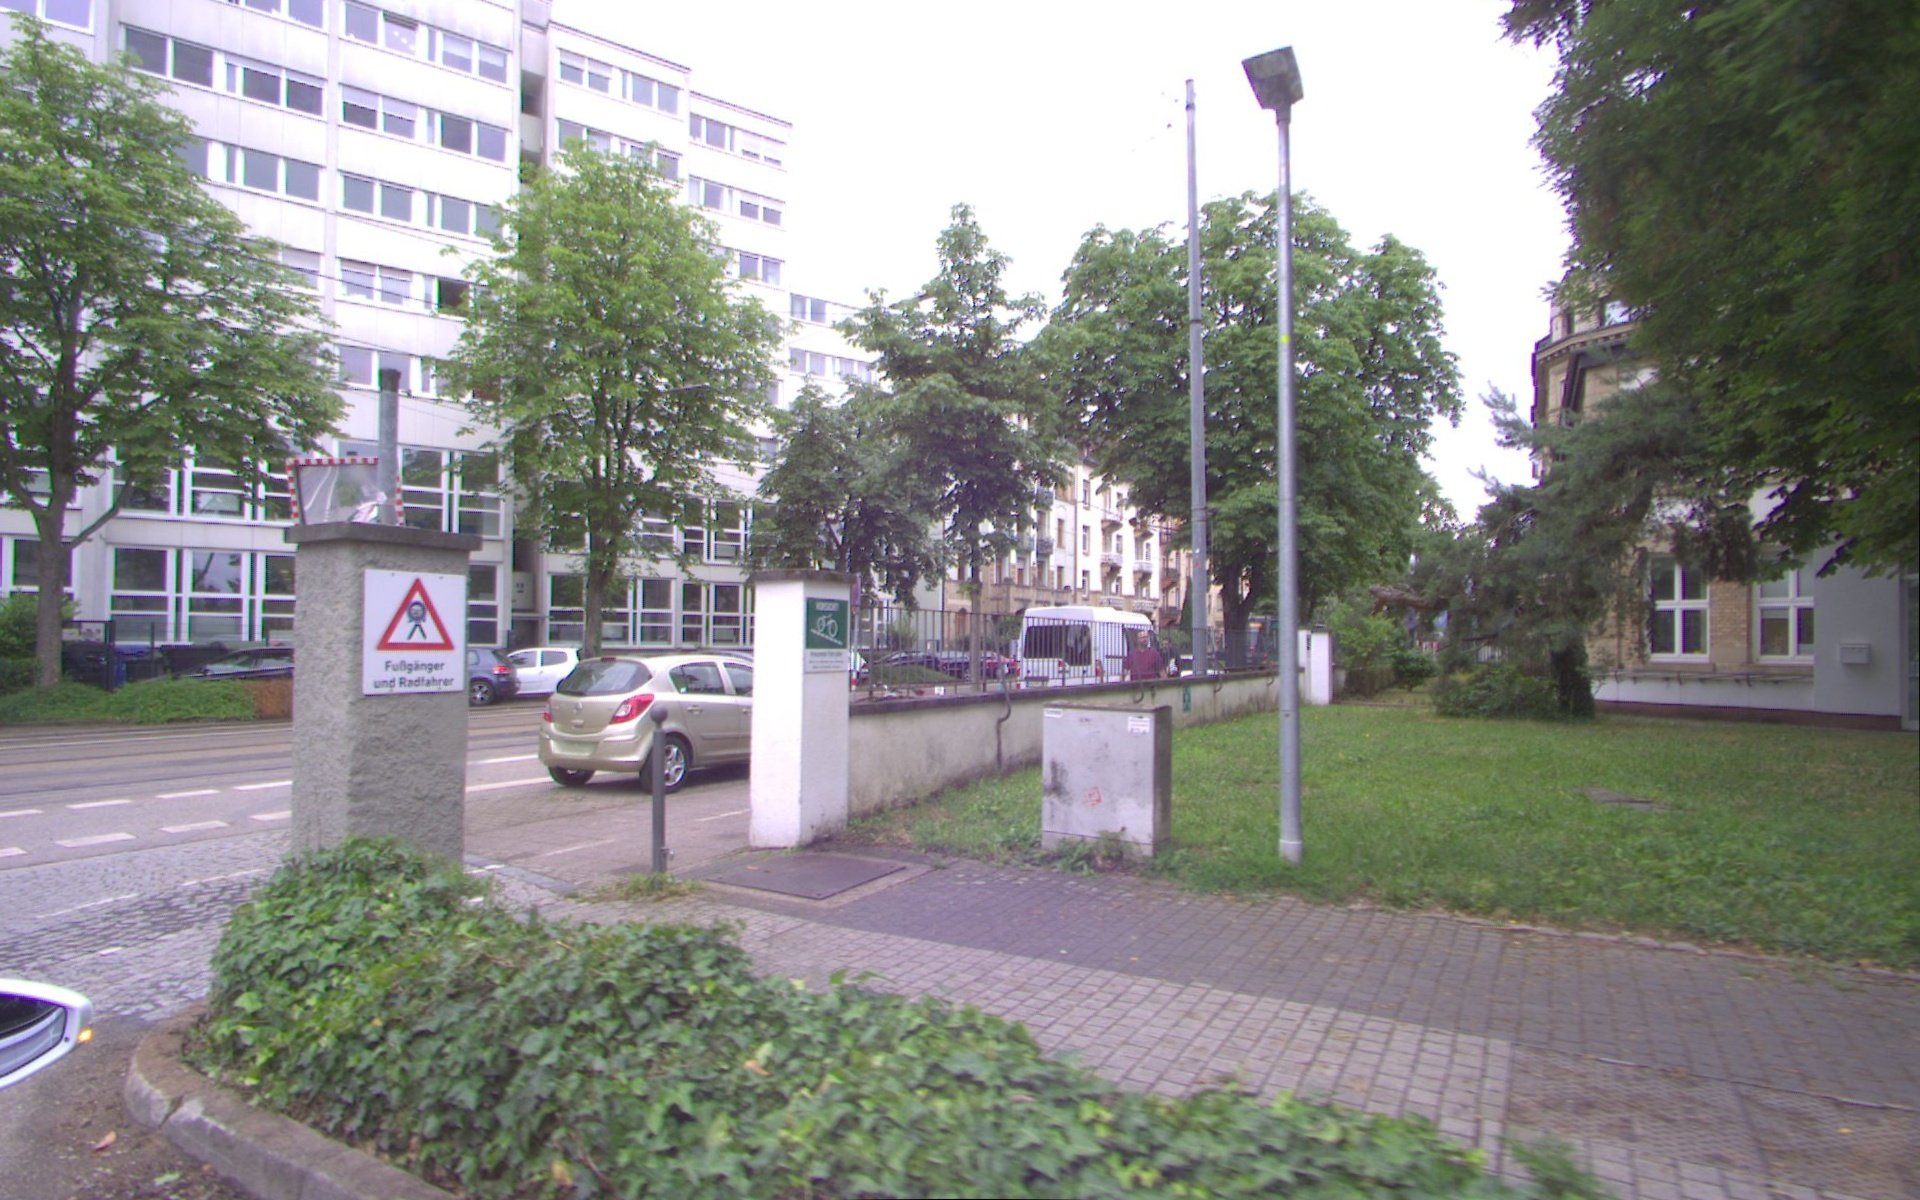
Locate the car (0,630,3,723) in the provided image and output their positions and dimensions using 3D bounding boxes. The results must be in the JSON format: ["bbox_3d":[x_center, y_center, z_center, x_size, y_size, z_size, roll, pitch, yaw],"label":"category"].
[{"bbox_3d":[-18.338,1.303,16.518,3.344,1.638,1.556,0,-2,-11],"label":"car"}]

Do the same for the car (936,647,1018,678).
[{"bbox_3d":[0.797,3.003,48.183,3.723,1.460,1.693,1,-2,-9],"label":"car"}]

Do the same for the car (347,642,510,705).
[{"bbox_3d":[-13.194,1.810,25.029,3.328,1.492,1.416,0,-2,-14],"label":"car"}]

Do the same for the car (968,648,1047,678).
[{"bbox_3d":[2.407,3.217,51.011,3.723,1.460,1.693,1,-2,-9],"label":"car"}]

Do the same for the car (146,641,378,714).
[{"bbox_3d":[-15.368,1.677,22.282,3.885,1.492,1.671,1,-2,-18],"label":"car"}]

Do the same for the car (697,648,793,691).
[{"bbox_3d":[-7.809,2.502,36.412,3.328,1.492,1.416,1,-2,-14],"label":"car"}]

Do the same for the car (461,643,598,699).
[{"bbox_3d":[-11.976,1.951,28.026,3.328,1.492,1.416,0,-2,-14],"label":"car"}]

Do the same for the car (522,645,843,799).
[{"bbox_3d":[-3.141,1.319,11.988,1.641,1.519,3.579,-1,-3,30],"label":"car"}]

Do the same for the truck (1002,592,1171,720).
[{"bbox_3d":[3.027,1.235,22.860,2.137,2.578,4.908,-1,-2,30],"label":"truck"}]

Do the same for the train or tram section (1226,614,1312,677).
[{"bbox_3d":[19.950,2.877,64.100,2.628,3.660,12.406,-1,-2,30],"label":"train or tram section"}]

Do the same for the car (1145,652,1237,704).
[{"bbox_3d":[6.783,2.209,29.166,1.784,1.371,3.799,-1,-3,27],"label":"car"}]

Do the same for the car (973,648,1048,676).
[{"bbox_3d":[2.655,3.305,53.336,3.723,1.460,1.693,1,-2,-9],"label":"car"}]

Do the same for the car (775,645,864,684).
[{"bbox_3d":[-5.540,2.516,39.297,3.328,1.492,1.415,1,-2,-14],"label":"car"}]

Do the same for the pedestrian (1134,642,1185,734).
[{"bbox_3d":[3.893,1.698,19.538,0.789,1.740,0.953,-1,-2,24],"label":"pedestrian"}]

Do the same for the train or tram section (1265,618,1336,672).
[{"bbox_3d":[24.968,3.243,72.886,2.628,3.660,12.406,-1,-2,30],"label":"train or tram section"}]

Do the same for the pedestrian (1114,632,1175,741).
[{"bbox_3d":[3.070,1.418,16.636,0.795,1.740,0.953,0,-2,24],"label":"pedestrian"}]

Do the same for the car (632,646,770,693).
[{"bbox_3d":[-8.743,2.341,33.788,4.420,1.491,1.416,1,-4,-18],"label":"car"}]
